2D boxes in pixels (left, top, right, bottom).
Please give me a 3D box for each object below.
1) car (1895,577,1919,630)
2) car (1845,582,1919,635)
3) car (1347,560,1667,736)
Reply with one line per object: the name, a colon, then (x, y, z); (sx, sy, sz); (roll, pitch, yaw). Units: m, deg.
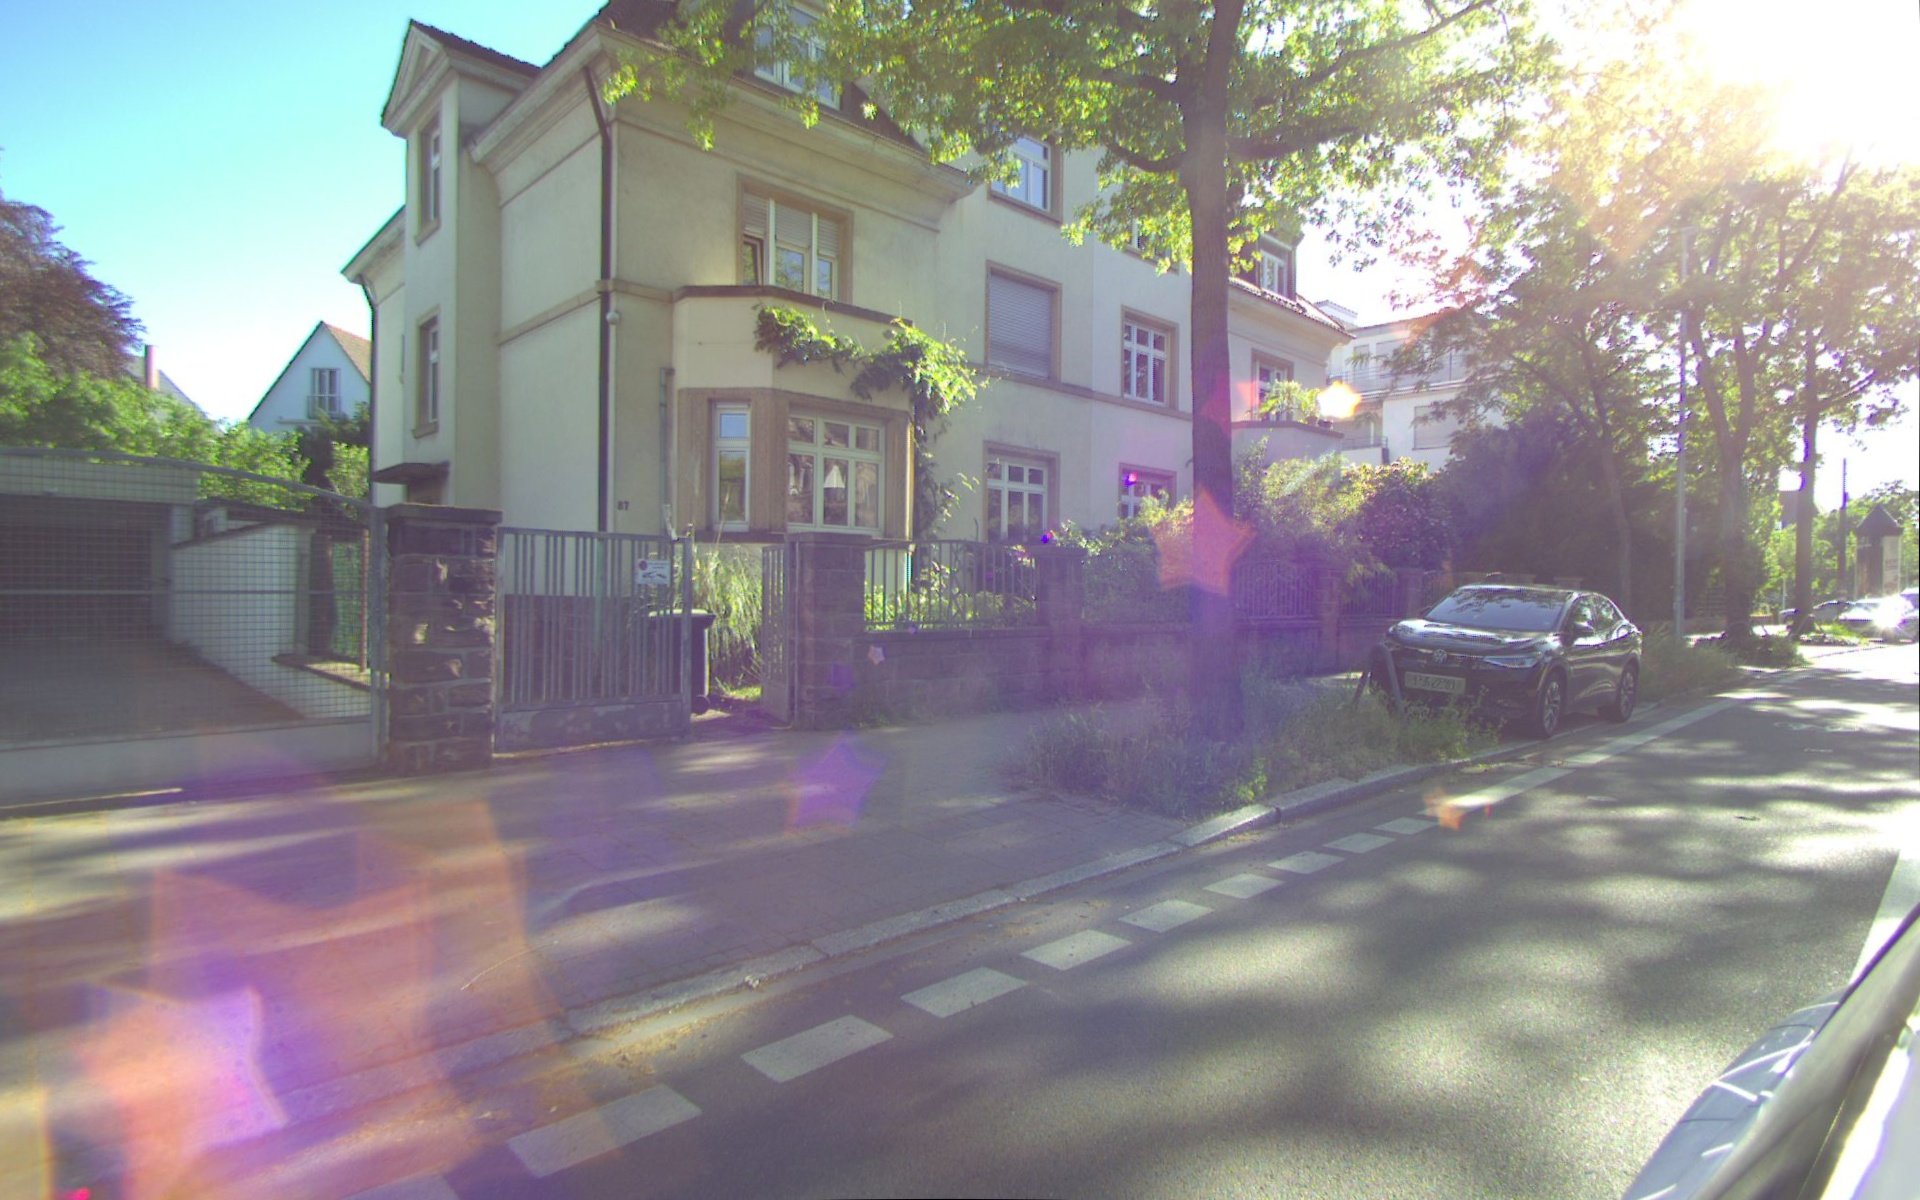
car: (36.762, 0.132, 37.871); (4.663, 1.919, 2.128); (0, 1, -41)
car: (31.507, 0.254, 34.094); (3.927, 1.660, 1.824); (0, 1, -38)
car: (6.697, 0.479, 12.193); (4.304, 1.695, 1.997); (1, 2, -42)
